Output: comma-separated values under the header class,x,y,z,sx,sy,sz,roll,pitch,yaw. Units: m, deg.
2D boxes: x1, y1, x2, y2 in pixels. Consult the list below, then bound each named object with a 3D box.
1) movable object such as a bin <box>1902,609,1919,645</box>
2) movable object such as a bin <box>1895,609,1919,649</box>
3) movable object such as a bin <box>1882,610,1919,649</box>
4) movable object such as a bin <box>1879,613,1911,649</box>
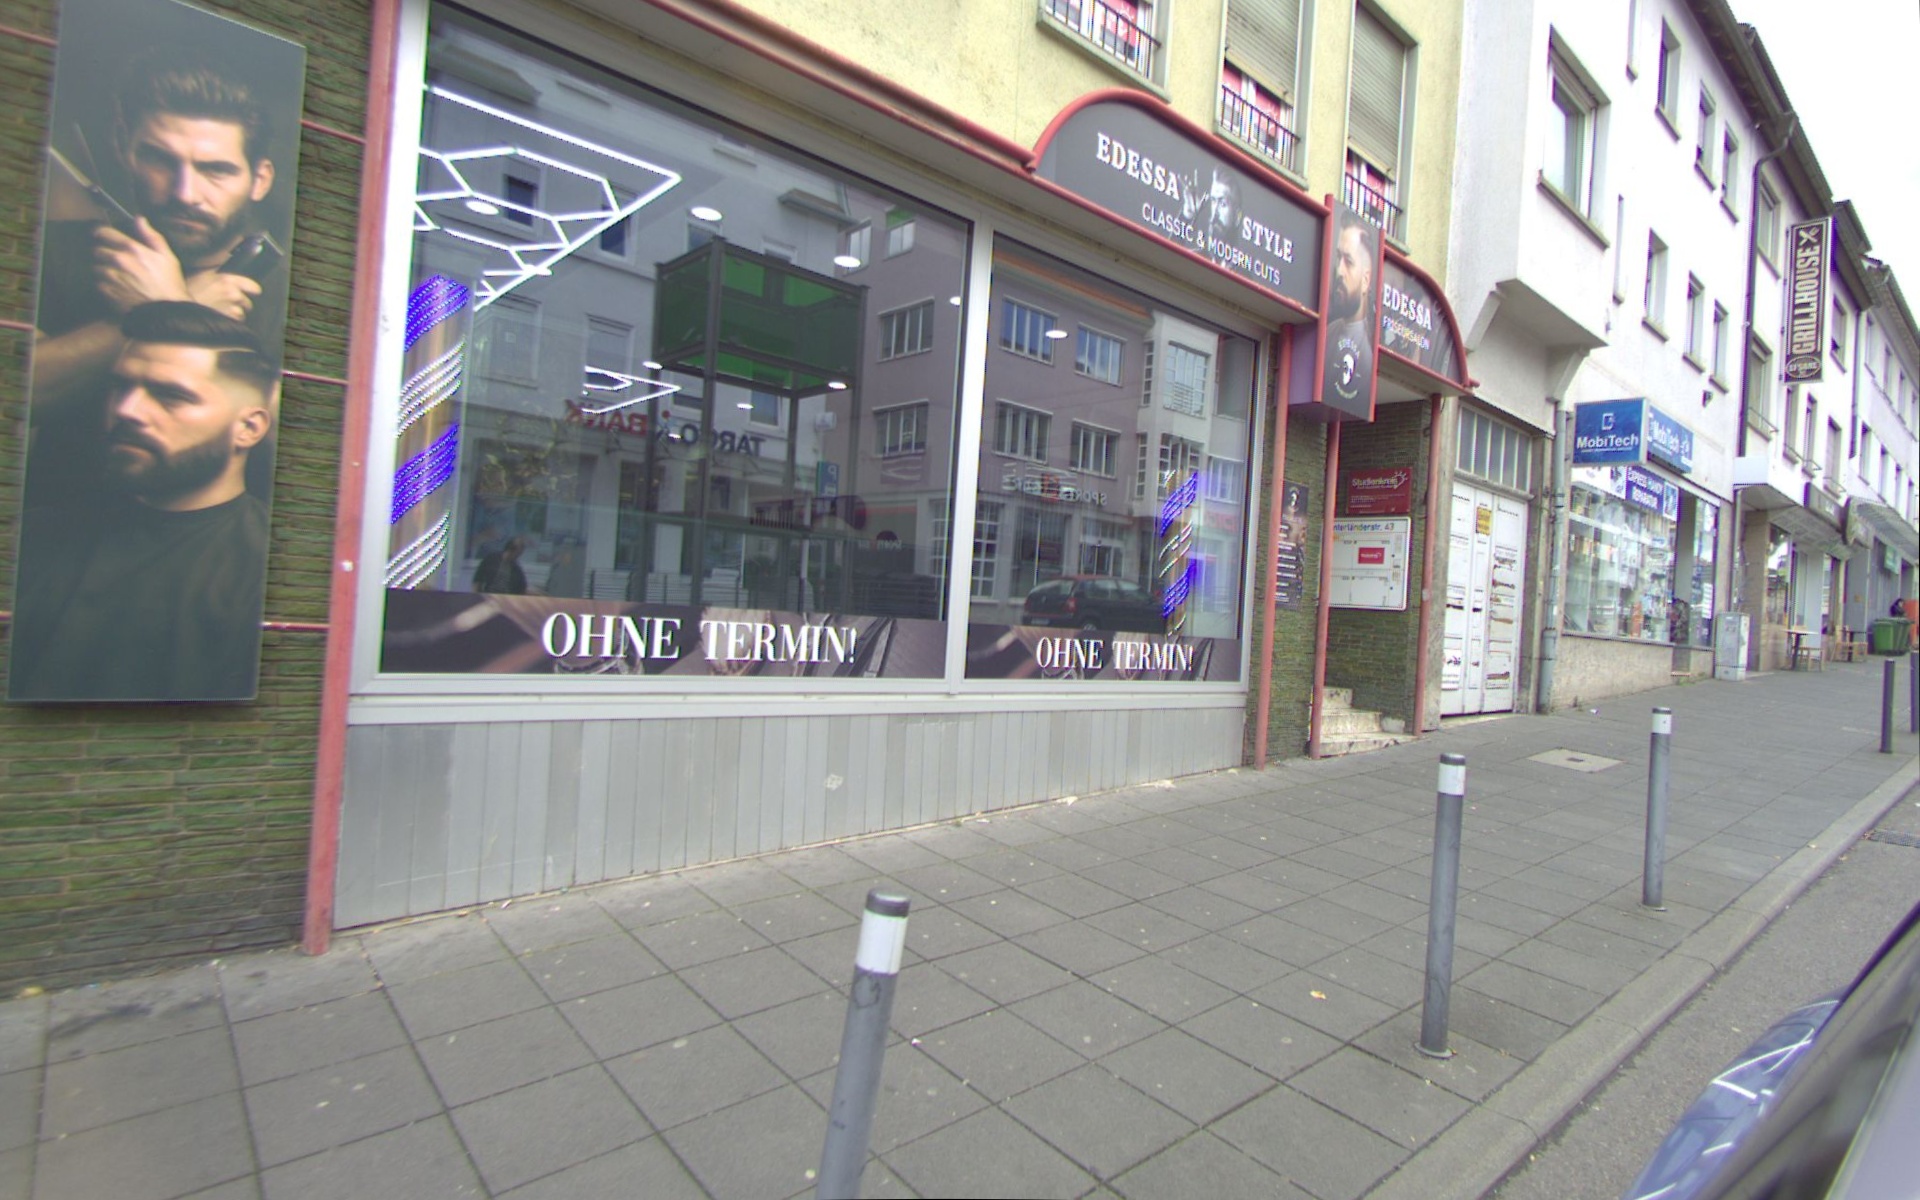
class,x,y,z,sx,sy,sz,roll,pitch,yaw
movable object such as a bin,28.675,0.816,30.317,0.549,1.070,0.559,1,1,-41
movable object such as a bin,27.234,0.829,28.936,0.661,1.094,0.652,1,1,-41
movable object such as a bin,26.581,0.819,28.607,0.550,1.043,0.670,1,1,-41
movable object such as a bin,26.096,0.870,28.247,0.490,0.968,0.568,1,1,-41
